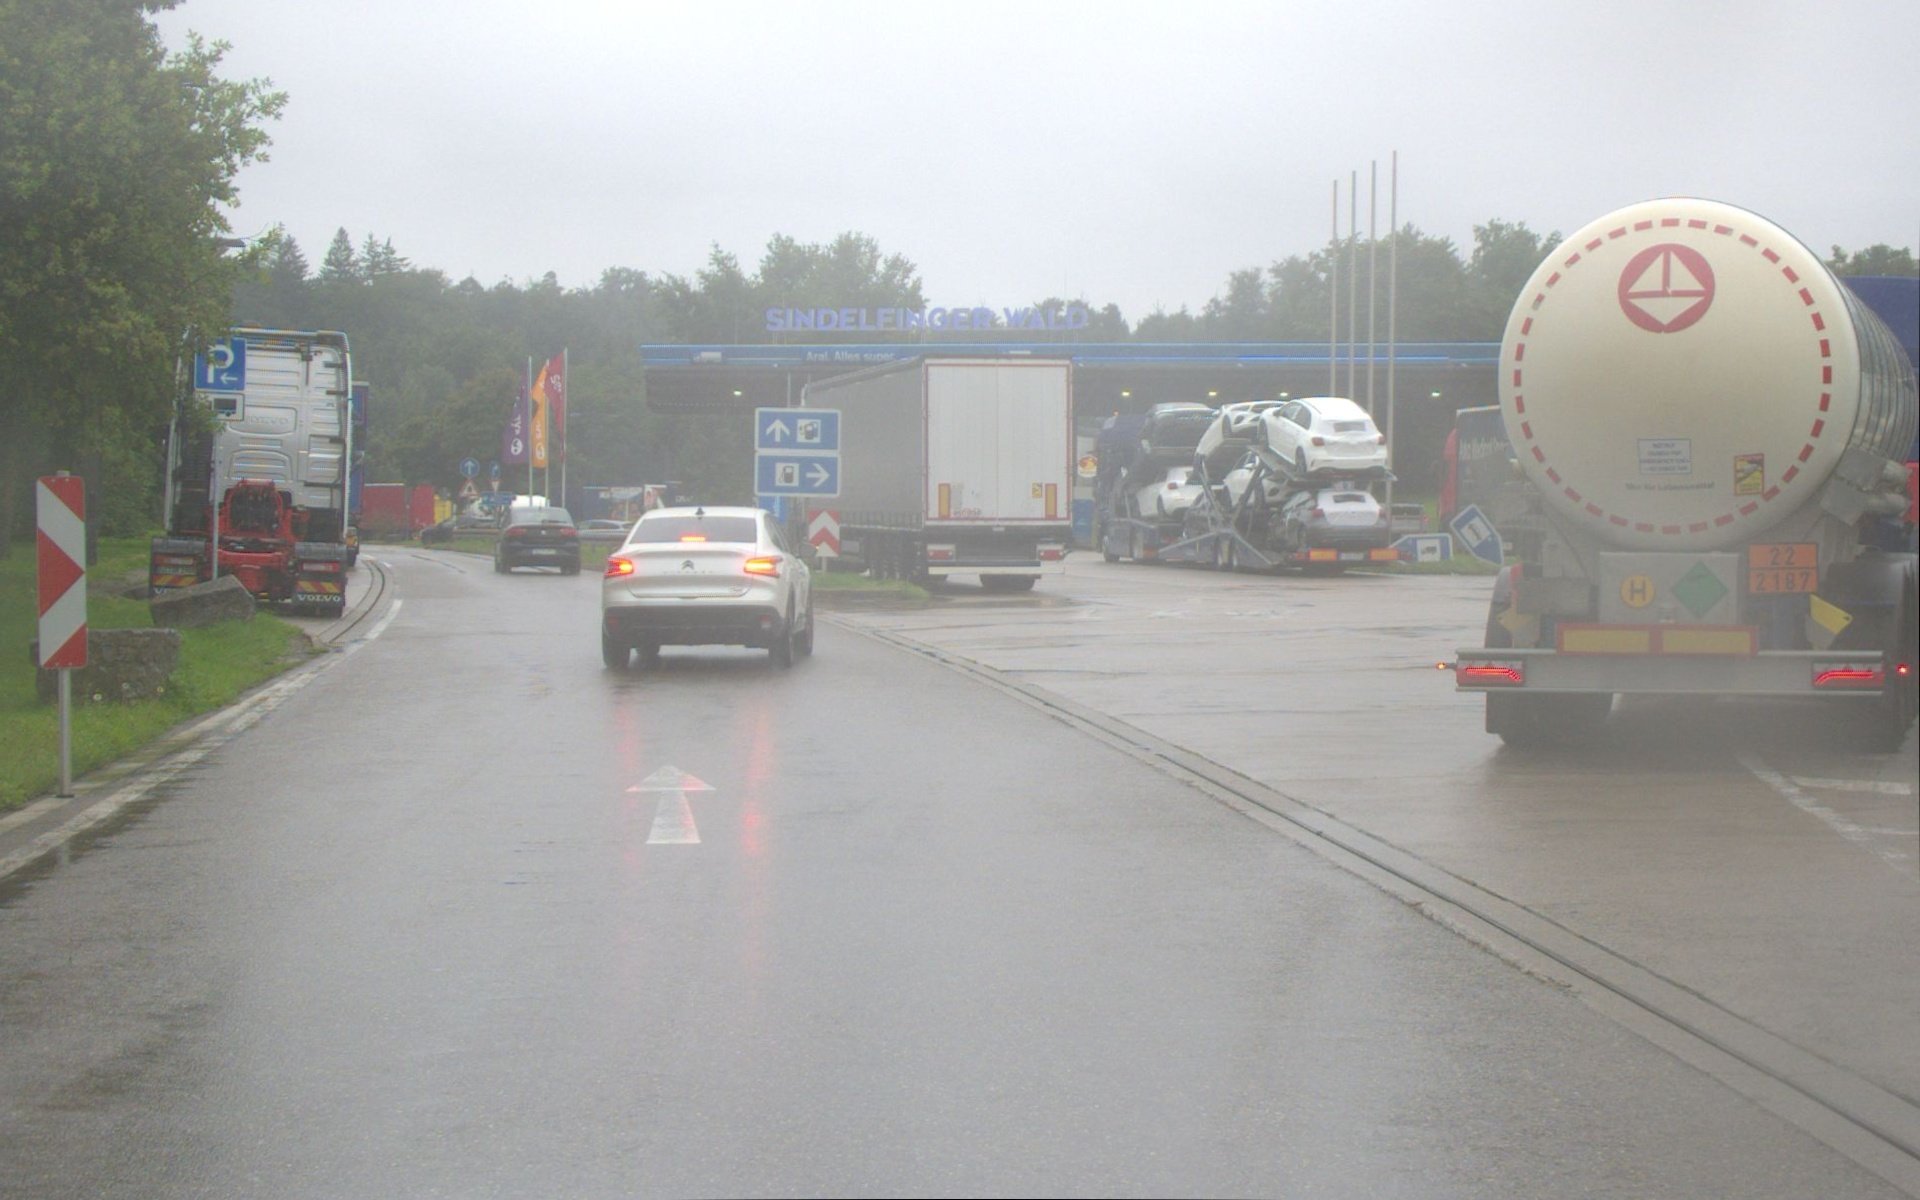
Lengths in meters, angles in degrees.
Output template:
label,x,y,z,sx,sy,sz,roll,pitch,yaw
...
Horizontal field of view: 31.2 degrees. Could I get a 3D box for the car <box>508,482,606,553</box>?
label,x,y,z,sx,sy,sz,roll,pitch,yaw
car,-8.664,-1.775,74.152,1.878,1.456,4.001,1,1,-4

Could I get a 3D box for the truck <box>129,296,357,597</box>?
label,x,y,z,sx,sy,sz,roll,pitch,yaw
truck,-9.924,-2.092,48.022,2.914,3.891,6.318,0,2,-10

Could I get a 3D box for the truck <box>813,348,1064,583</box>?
label,x,y,z,sx,sy,sz,roll,pitch,yaw
truck,-0.598,-2.433,62.858,2.370,3.860,12.459,0,2,-11

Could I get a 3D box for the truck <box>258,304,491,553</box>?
label,x,y,z,sx,sy,sz,roll,pitch,yaw
truck,-13.721,-3.869,79.555,4.790,5.287,11.074,0,2,-12

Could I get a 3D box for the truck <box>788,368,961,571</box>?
label,x,y,z,sx,sy,sz,roll,pitch,yaw
truck,-1.800,-2.608,69.056,2.370,3.860,7.014,0,2,-11

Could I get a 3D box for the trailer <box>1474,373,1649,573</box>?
label,x,y,z,sx,sy,sz,roll,pitch,yaw
trailer,14.461,-3.006,83.375,1.993,4.543,9.811,1,1,-3

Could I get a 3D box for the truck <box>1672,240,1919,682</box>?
label,x,y,z,sx,sy,sz,roll,pitch,yaw
truck,7.584,-1.177,29.895,2.055,3.519,4.741,1,2,19

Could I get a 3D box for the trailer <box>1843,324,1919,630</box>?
label,x,y,z,sx,sy,sz,roll,pitch,yaw
trailer,13.451,-1.490,42.936,2.135,3.428,10.237,1,2,29

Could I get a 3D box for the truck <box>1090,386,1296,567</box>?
label,x,y,z,sx,sy,sz,roll,pitch,yaw
truck,5.666,-3.062,85.279,3.233,4.174,8.446,1,2,-9

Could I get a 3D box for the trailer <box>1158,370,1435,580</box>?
label,x,y,z,sx,sy,sz,roll,pitch,yaw
trailer,7.158,-2.748,75.359,3.215,4.174,11.533,1,2,-9

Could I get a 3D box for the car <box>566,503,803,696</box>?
label,x,y,z,sx,sy,sz,roll,pitch,yaw
car,-2.578,-0.010,33.056,1.993,1.673,4.000,2,0,-1

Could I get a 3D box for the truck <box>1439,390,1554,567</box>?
label,x,y,z,sx,sy,sz,roll,pitch,yaw
truck,14.106,-3.171,90.683,1.988,4.533,4.796,1,1,-3

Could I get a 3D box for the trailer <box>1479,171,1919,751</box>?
label,x,y,z,sx,sy,sz,roll,pitch,yaw
trailer,5.649,-0.902,24.269,1.982,3.213,10.311,1,2,19
